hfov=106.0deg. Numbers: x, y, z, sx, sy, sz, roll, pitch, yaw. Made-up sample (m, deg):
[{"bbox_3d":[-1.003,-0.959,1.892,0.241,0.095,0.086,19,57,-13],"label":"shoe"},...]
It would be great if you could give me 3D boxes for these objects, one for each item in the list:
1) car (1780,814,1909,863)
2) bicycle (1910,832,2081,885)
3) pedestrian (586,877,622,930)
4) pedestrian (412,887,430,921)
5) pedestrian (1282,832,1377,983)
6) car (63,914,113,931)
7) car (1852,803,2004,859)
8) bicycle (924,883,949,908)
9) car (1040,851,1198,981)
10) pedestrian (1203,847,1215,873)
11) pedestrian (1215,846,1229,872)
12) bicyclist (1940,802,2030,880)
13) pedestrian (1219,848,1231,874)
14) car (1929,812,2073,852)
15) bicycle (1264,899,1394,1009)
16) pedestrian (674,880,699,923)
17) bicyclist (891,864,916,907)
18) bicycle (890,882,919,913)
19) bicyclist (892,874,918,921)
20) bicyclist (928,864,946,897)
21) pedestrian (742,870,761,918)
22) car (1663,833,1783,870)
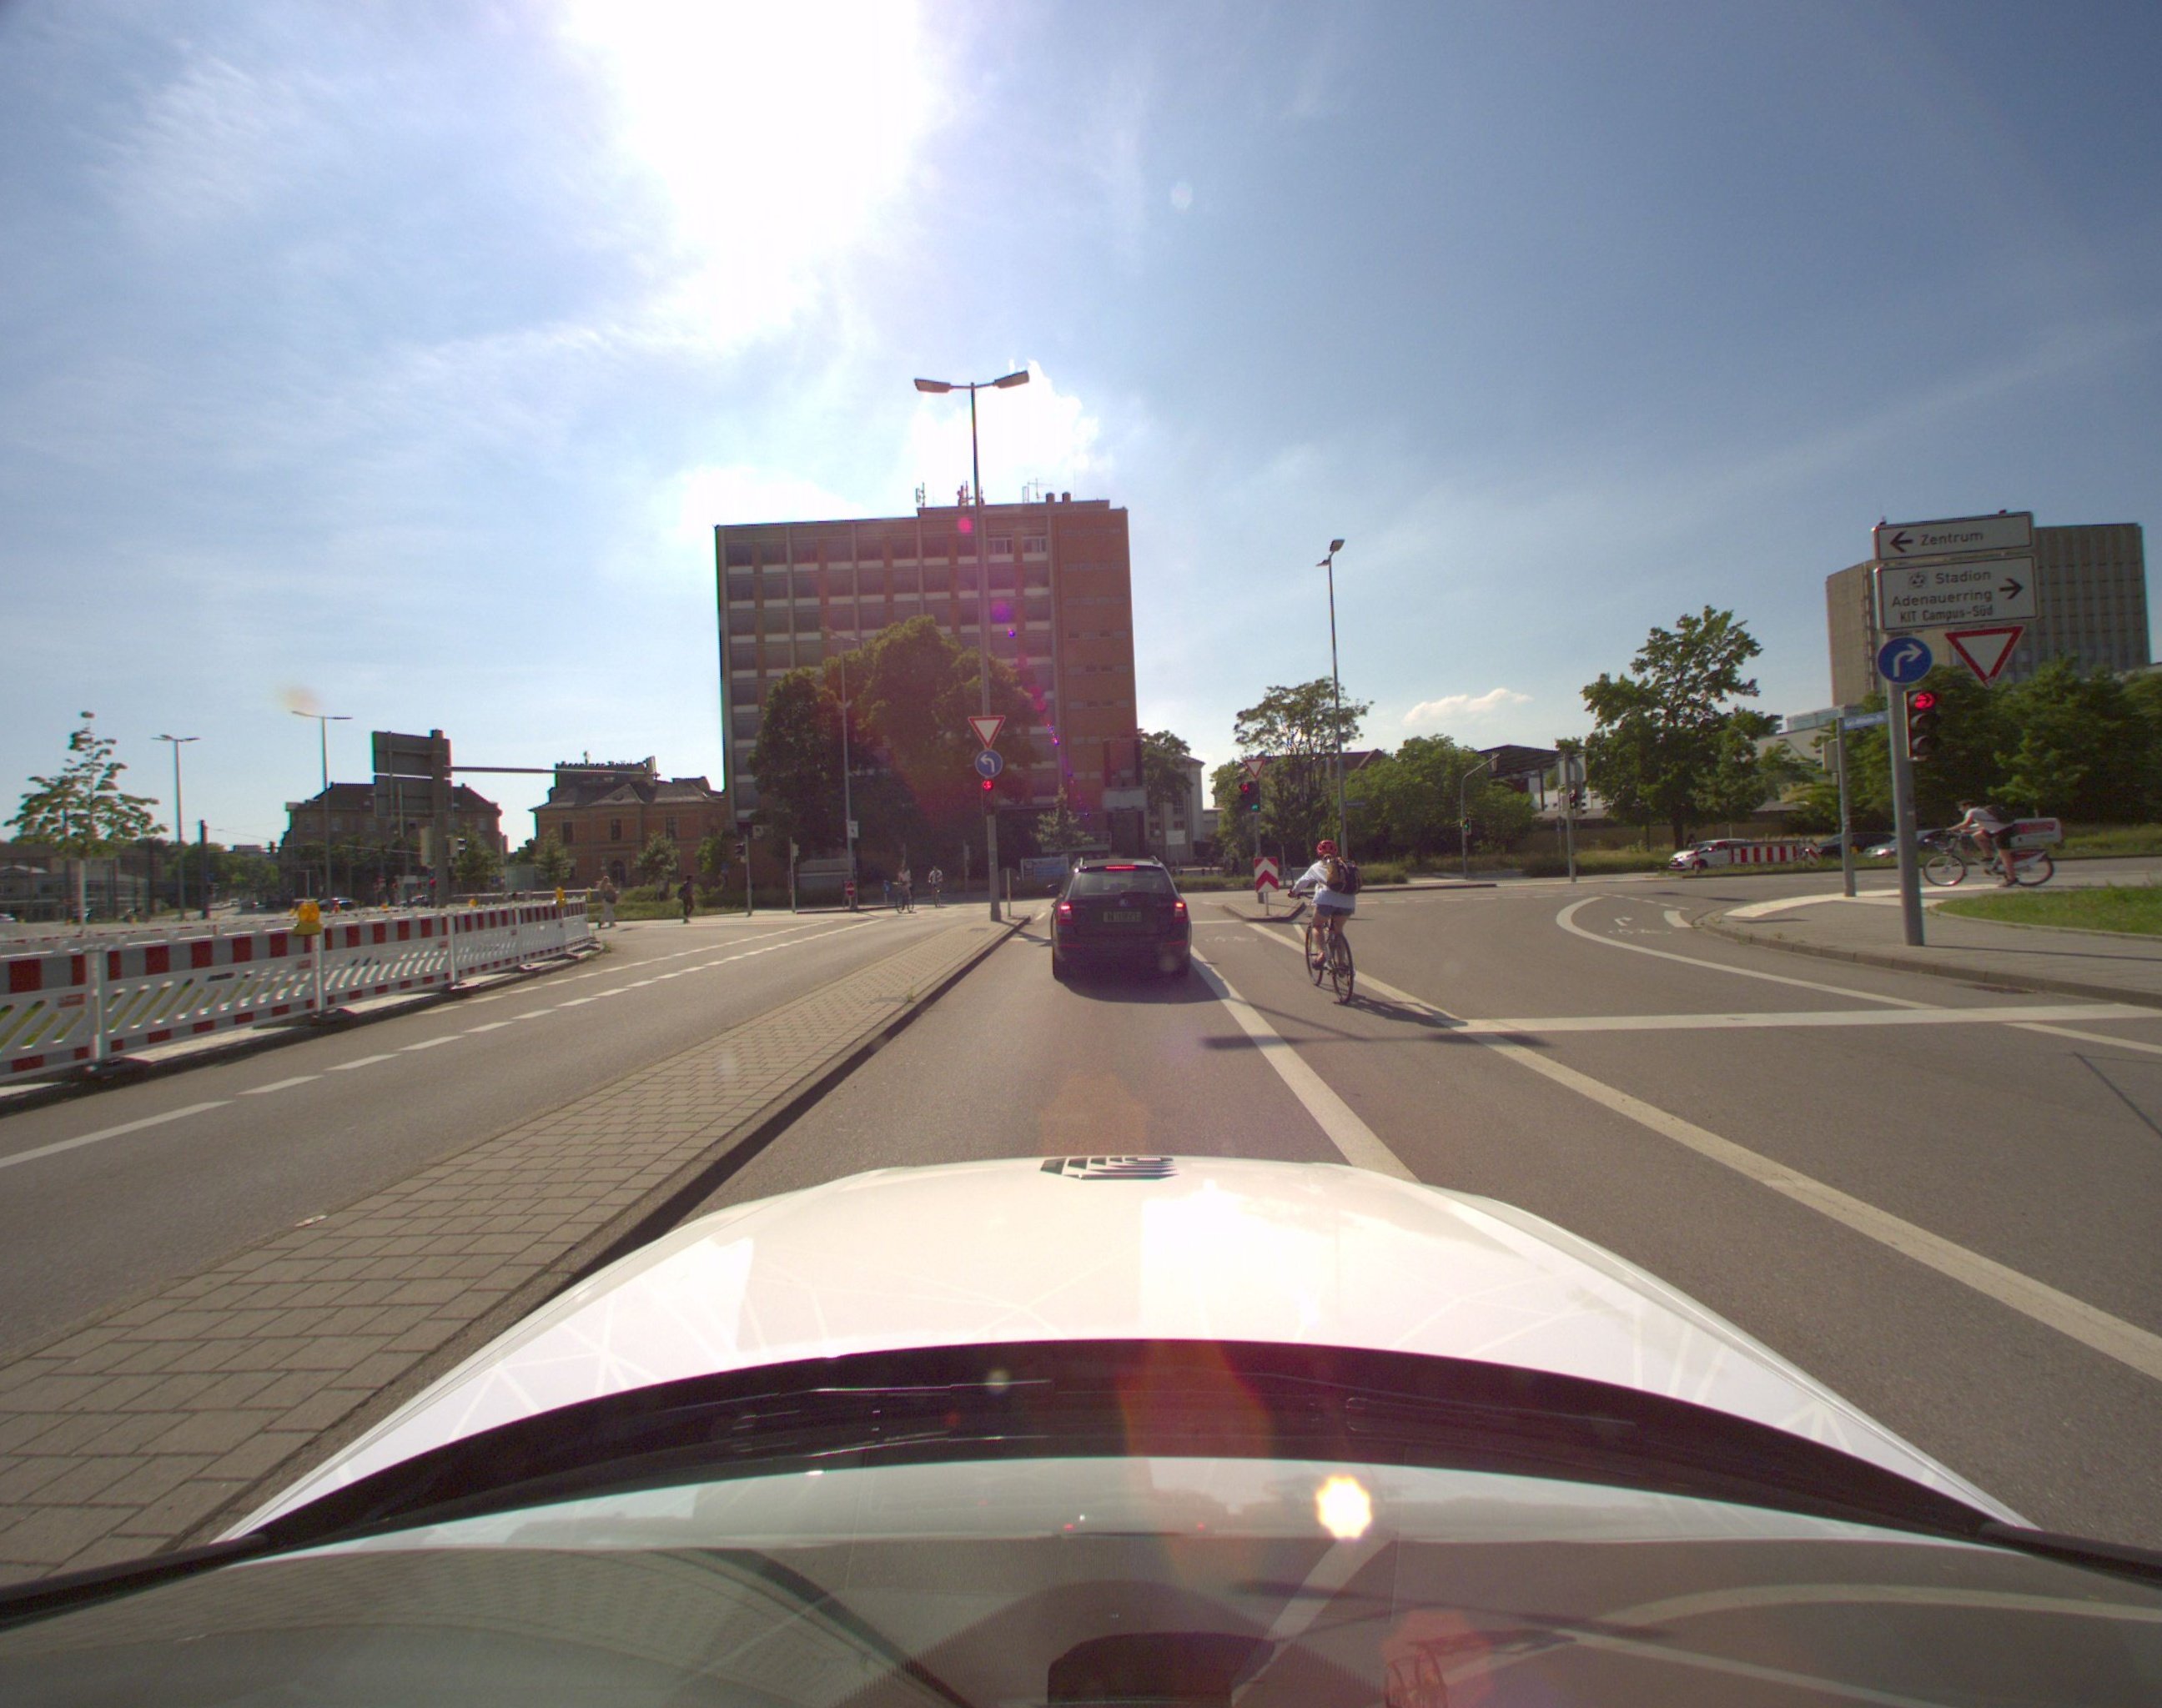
[{"bbox_3d":[35.616,-0.709,38.092,3.970,2.013,2.002,-3,0,3],"label":"car"},{"bbox_3d":[17.707,0.108,15.841,0.678,0.916,2.143,-3,-1,-41],"label":"bicycle"},{"bbox_3d":[-16.394,1.695,27.996,0.737,1.752,1.105,-3,-3,-14],"label":"pedestrian"},{"bbox_3d":[-40.878,3.093,50.450,0.621,2.013,0.525,-3,-1,15],"label":"pedestrian"},{"bbox_3d":[2.567,0.528,8.508,0.582,1.466,1.011,-1,-1,-5],"label":"pedestrian"},{"bbox_3d":[-121.421,8.356,99.661,1.646,1.717,3.984,-3,-1,-11],"label":"car"},{"bbox_3d":[35.444,-0.909,34.191,3.966,2.014,2.004,-3,-3,7],"label":"car"},{"bbox_3d":[-6.381,1.809,36.120,0.702,0.977,2.030,-3,0,0],"label":"bicycle"},{"bbox_3d":[0.506,0.716,11.155,1.773,1.443,3.820,-1,0,2],"label":"car"},{"bbox_3d":[9.522,0.424,60.579,0.591,1.874,0.642,-4,0,25],"label":"pedestrian"},{"bbox_3d":[10.554,0.391,60.979,0.786,1.874,0.643,-4,0,27],"label":"pedestrian"},{"bbox_3d":[17.606,-0.237,15.886,0.499,1.470,1.129,1,-2,-42],"label":"bicyclist"},{"bbox_3d":[10.516,0.510,59.445,0.634,1.874,0.797,-4,0,1],"label":"pedestrian"},{"bbox_3d":[41.941,-0.979,37.197,4.294,1.569,1.911,-3,0,1],"label":"car"},{"bbox_3d":[2.571,1.000,8.710,0.595,0.931,2.024,-1,-1,-5],"label":"bicycle"},{"bbox_3d":[-14.278,1.702,29.475,0.632,1.491,0.614,-3,-1,-15],"label":"pedestrian"},{"bbox_3d":[-6.265,1.112,28.808,0.617,1.443,0.919,-5,0,-3],"label":"bicyclist"},{"bbox_3d":[-6.230,1.516,28.803,0.617,0.961,1.966,-5,0,-3],"label":"bicycle"},{"bbox_3d":[-6.230,1.516,28.817,0.617,1.581,1.013,-5,0,-3],"label":"bicyclist"},{"bbox_3d":[-6.390,1.186,36.125,0.537,1.417,1.030,-4,-1,0],"label":"bicyclist"},{"bbox_3d":[-14.096,1.718,34.812,0.618,2.014,0.679,0,-2,-36],"label":"pedestrian"},{"bbox_3d":[29.924,-0.094,38.065,3.972,1.464,2.000,-3,-2,1],"label":"car"}]
